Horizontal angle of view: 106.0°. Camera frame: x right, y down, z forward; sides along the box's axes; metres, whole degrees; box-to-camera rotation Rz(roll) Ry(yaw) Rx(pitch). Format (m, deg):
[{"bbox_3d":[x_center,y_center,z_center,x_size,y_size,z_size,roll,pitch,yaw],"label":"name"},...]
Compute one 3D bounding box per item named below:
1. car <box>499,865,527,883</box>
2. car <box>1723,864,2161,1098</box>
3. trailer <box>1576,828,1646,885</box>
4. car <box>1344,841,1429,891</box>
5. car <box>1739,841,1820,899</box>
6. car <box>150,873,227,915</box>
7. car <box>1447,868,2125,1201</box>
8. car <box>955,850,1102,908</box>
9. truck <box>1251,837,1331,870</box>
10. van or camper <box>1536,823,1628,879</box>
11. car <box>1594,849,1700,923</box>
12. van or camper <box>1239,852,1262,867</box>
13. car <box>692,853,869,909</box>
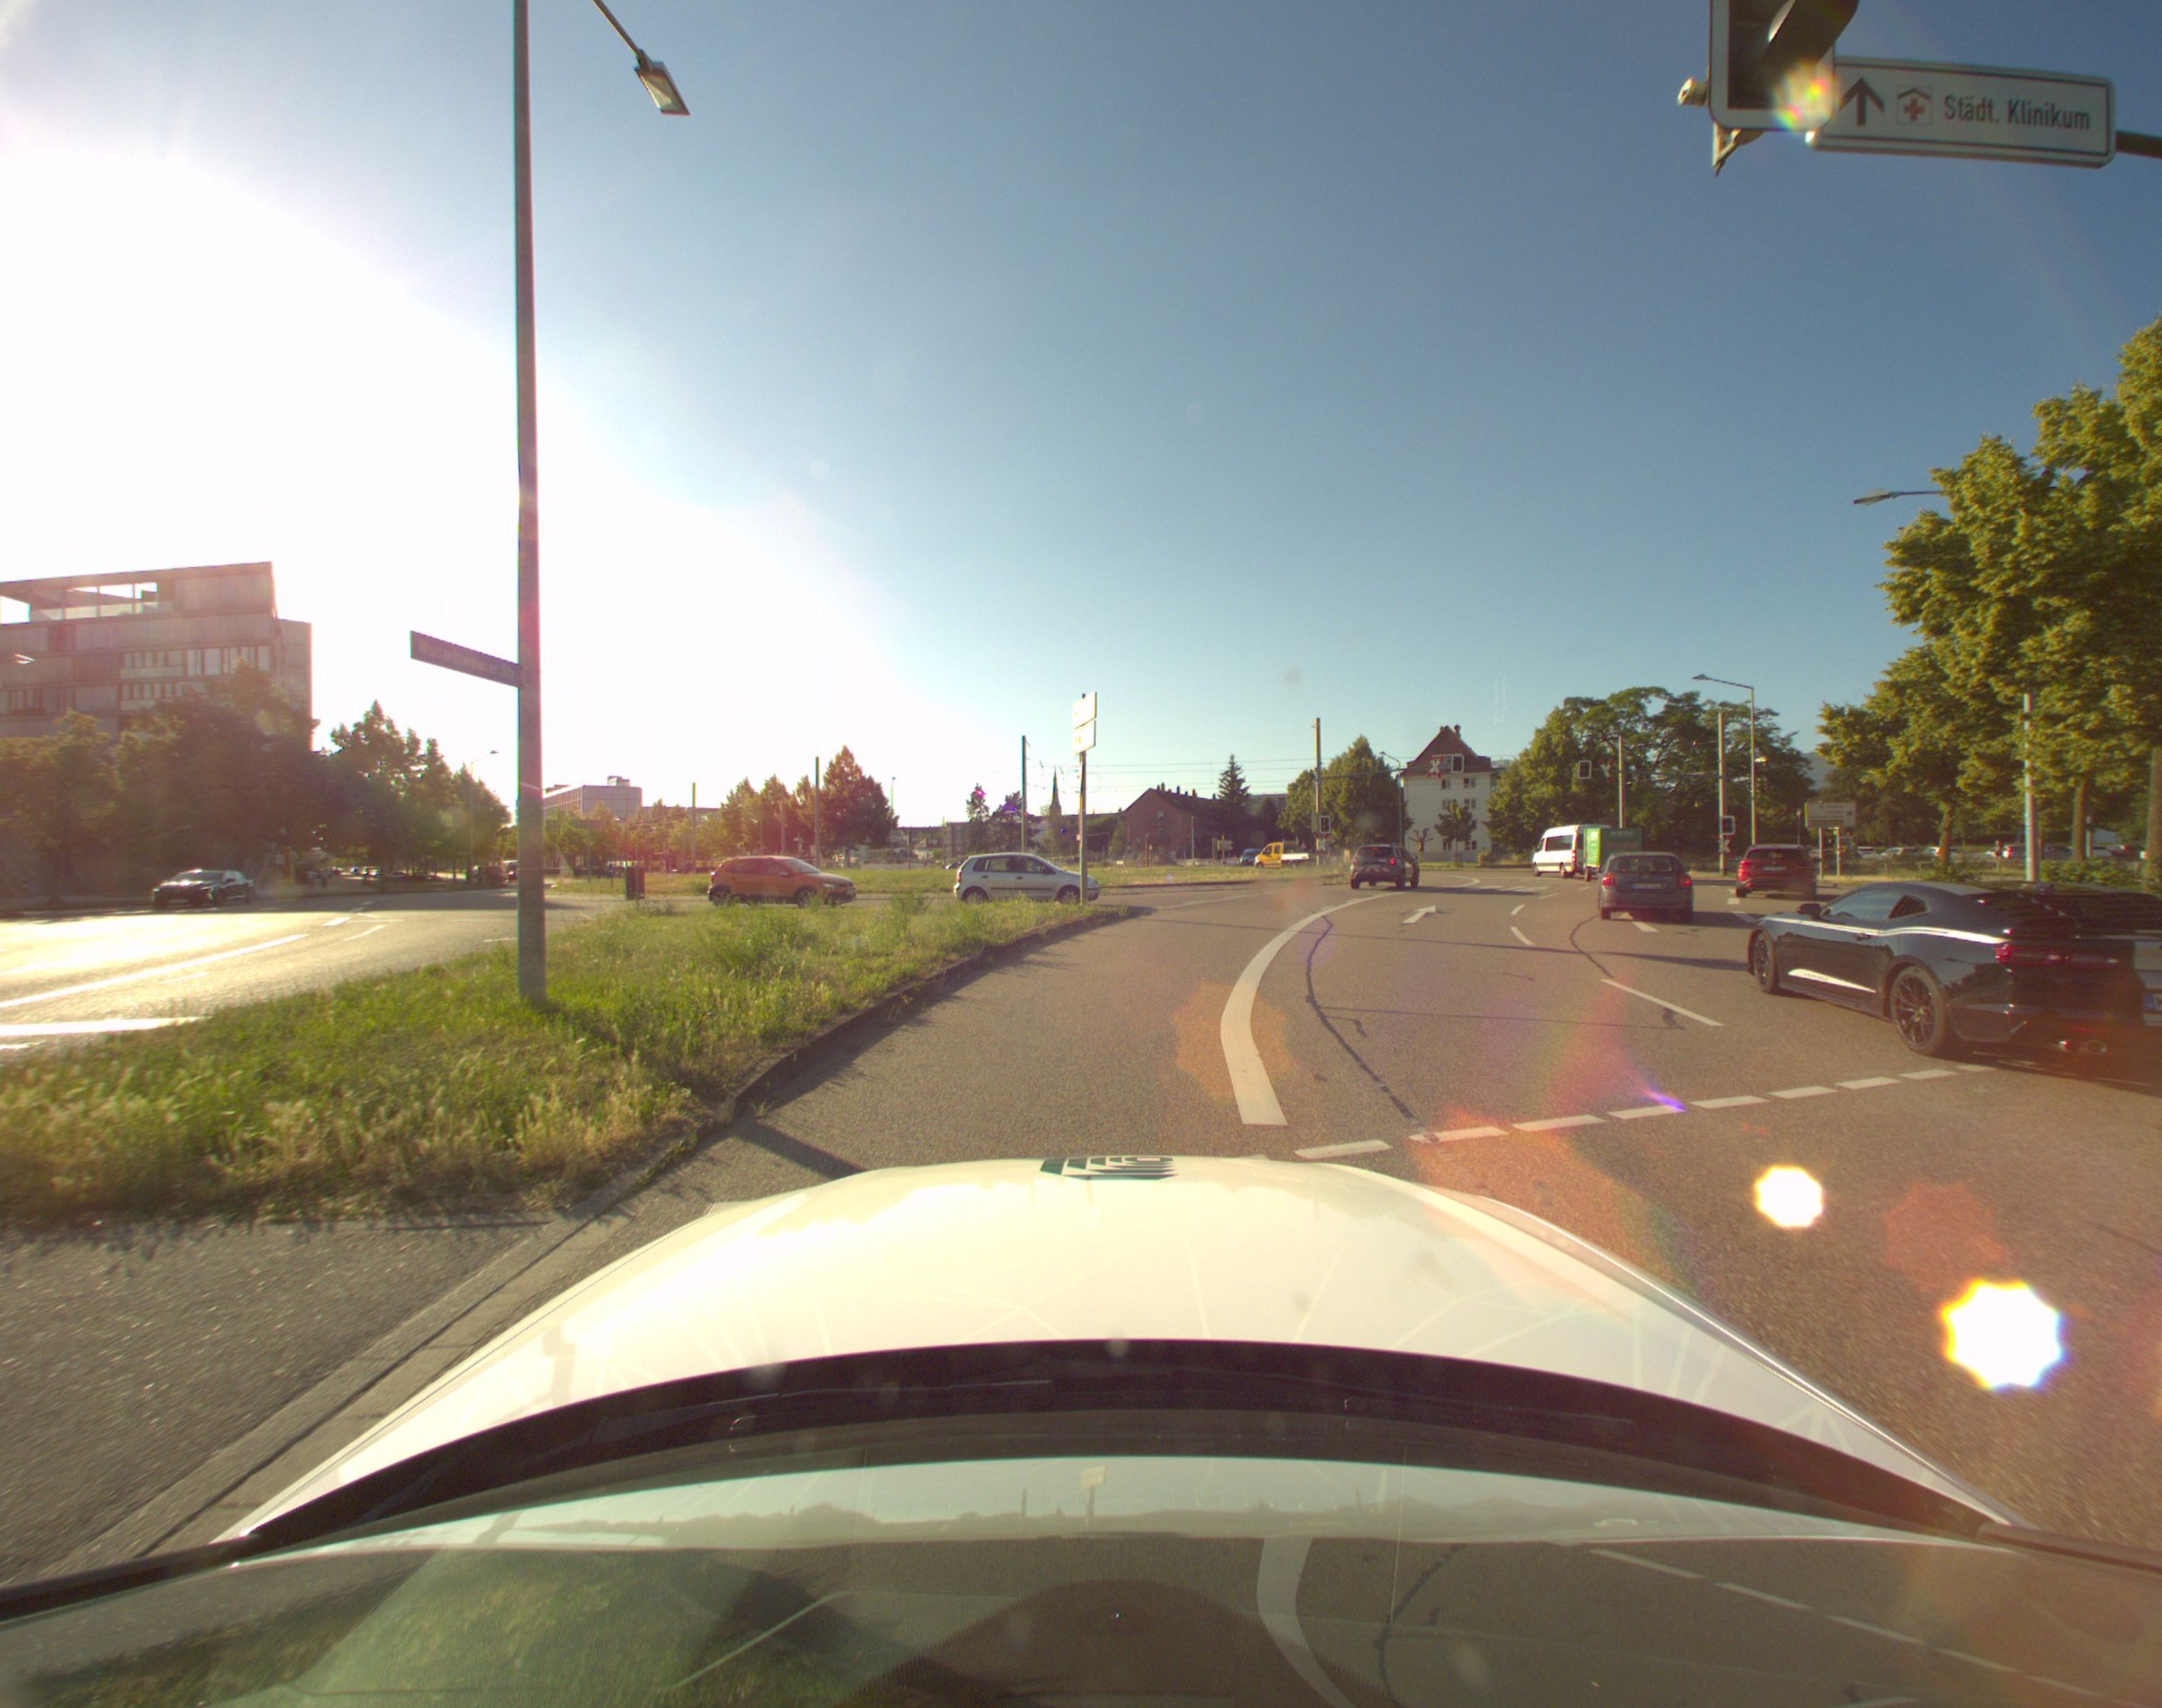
[{"bbox_3d":[-66.559,2.288,95.366,3.950,2.014,2.012,-1,-1,44],"label":"car"},{"bbox_3d":[7.716,0.817,7.159,1.839,1.338,4.648,0,1,19],"label":"car"},{"bbox_3d":[23.371,0.116,36.033,2.071,2.400,3.520,0,-1,24],"label":"trailer"},{"bbox_3d":[11.166,0.426,29.637,1.887,1.660,4.025,-1,-1,36],"label":"car"},{"bbox_3d":[20.973,0.426,24.572,1.730,1.621,3.844,0,0,39],"label":"car"},{"bbox_3d":[-33.964,1.477,31.068,1.516,1.453,3.422,-1,0,-39],"label":"car"},{"bbox_3d":[4.496,0.946,6.143,1.597,1.610,3.998,-1,0,-1],"label":"car"},{"bbox_3d":[-1.360,0.646,21.871,3.736,1.434,1.835,-1,0,-2],"label":"car"},{"bbox_3d":[16.801,-0.011,65.466,2.597,2.558,6.189,-1,0,-31],"label":"truck"},{"bbox_3d":[25.483,-0.147,41.736,2.268,2.629,6.609,0,0,15],"label":"van or camper"},{"bbox_3d":[12.768,0.640,18.279,1.730,1.473,3.844,-1,0,38],"label":"car"},{"bbox_3d":[25.098,0.747,120.403,2.073,2.154,4.450,-1,-1,29],"label":"van or camper"},{"bbox_3d":[-8.210,0.731,22.447,4.102,1.444,1.914,-1,0,8],"label":"car"}]
